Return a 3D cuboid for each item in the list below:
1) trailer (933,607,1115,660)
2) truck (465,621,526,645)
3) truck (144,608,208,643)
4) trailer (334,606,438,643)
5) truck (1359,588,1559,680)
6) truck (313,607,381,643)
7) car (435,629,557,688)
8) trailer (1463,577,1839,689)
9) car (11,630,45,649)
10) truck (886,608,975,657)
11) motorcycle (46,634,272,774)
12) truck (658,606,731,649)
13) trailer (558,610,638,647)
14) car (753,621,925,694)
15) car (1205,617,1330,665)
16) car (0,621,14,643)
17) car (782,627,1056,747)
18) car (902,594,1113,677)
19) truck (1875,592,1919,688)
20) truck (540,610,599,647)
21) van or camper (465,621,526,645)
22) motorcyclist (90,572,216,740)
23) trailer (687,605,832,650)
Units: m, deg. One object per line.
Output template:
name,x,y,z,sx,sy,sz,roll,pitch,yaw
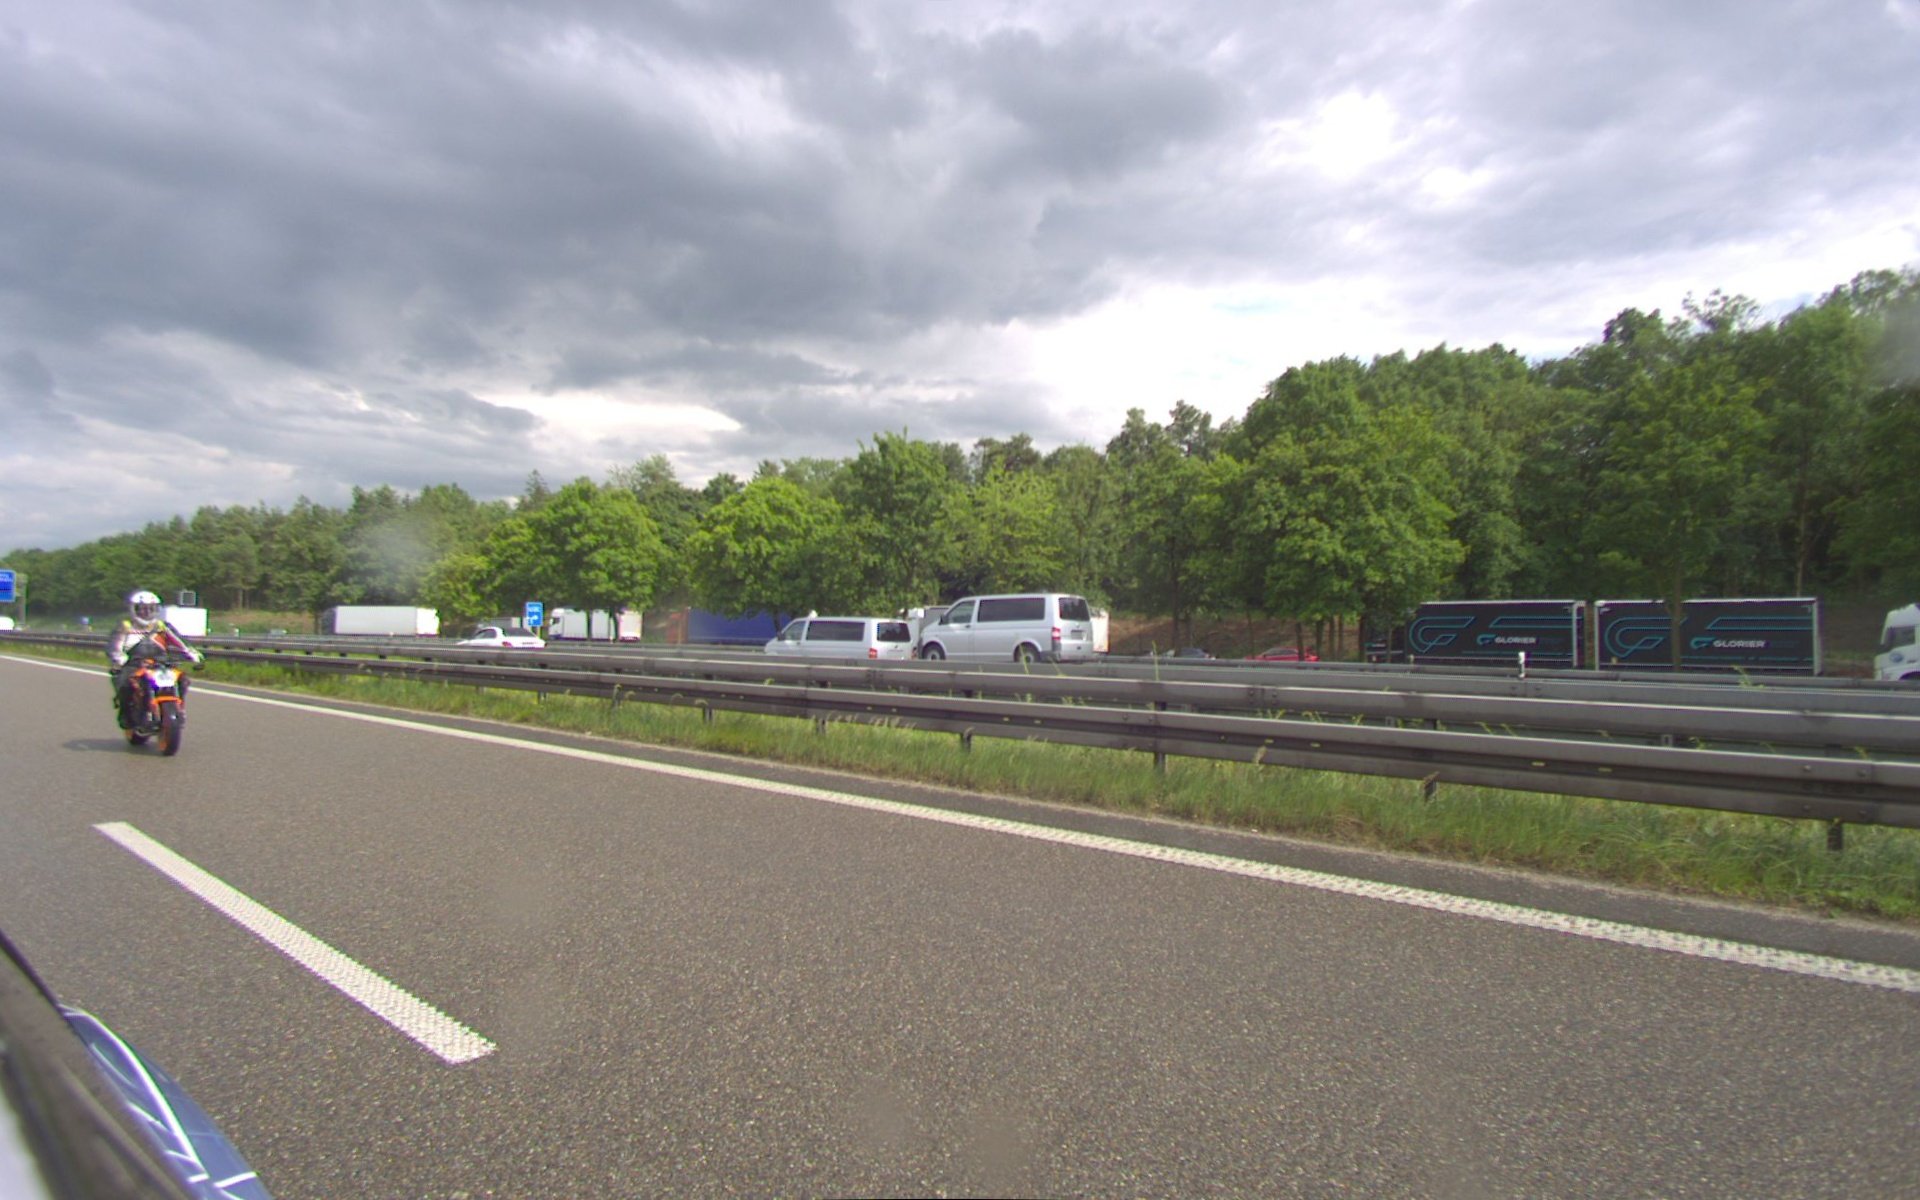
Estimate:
trailer,4.036,2.194,67.532,12.458,3.241,3.315,-1,-2,39
truck,-45.884,3.237,99.960,6.288,2.282,2.105,-1,-1,28
truck,-63.318,2.015,81.694,7.188,2.702,2.813,-1,0,41
trailer,-60.857,2.617,107.191,12.505,3.767,3.185,-1,-2,27
truck,25.127,1.606,51.223,8.413,4.266,3.748,-1,0,41
truck,-66.724,2.663,110.115,6.880,3.732,3.189,-1,0,26
car,-16.915,2.049,36.762,5.256,1.905,2.025,-1,0,40
trailer,30.911,1.470,46.156,13.796,4.439,3.749,-1,-2,42
car,-104.358,4.384,113.283,4.776,1.905,2.277,-1,0,40
truck,-2.114,2.255,72.409,5.498,3.298,3.322,-1,0,37
motorcycle,-8.697,1.017,10.912,3.189,1.235,1.174,-1,0,37
truck,-22.600,2.307,86.009,5.880,3.482,2.837,-1,0,33
trailer,-33.090,2.577,92.414,7.712,3.257,2.560,-1,-2,31
car,-3.638,1.608,29.763,5.256,1.905,2.025,-1,0,40
car,17.358,2.266,57.403,6.207,2.501,2.764,-1,0,41
car,-87.092,2.911,91.281,5.256,1.905,2.025,-1,0,40
car,-0.912,1.510,19.290,5.256,1.905,2.025,-1,0,40
car,1.113,0.830,25.825,5.256,1.905,2.025,-1,0,40
truck,39.306,1.463,37.904,7.351,3.616,3.748,-1,0,41
truck,-36.390,2.625,94.291,5.066,3.292,2.635,-1,0,30
van or camper,-45.809,3.235,99.828,6.293,2.282,2.105,-1,-1,28
motorcyclist,-8.770,0.573,11.000,0.999,1.719,0.872,-1,0,38
trailer,-16.395,2.194,81.838,13.388,3.431,2.800,-1,-2,34
